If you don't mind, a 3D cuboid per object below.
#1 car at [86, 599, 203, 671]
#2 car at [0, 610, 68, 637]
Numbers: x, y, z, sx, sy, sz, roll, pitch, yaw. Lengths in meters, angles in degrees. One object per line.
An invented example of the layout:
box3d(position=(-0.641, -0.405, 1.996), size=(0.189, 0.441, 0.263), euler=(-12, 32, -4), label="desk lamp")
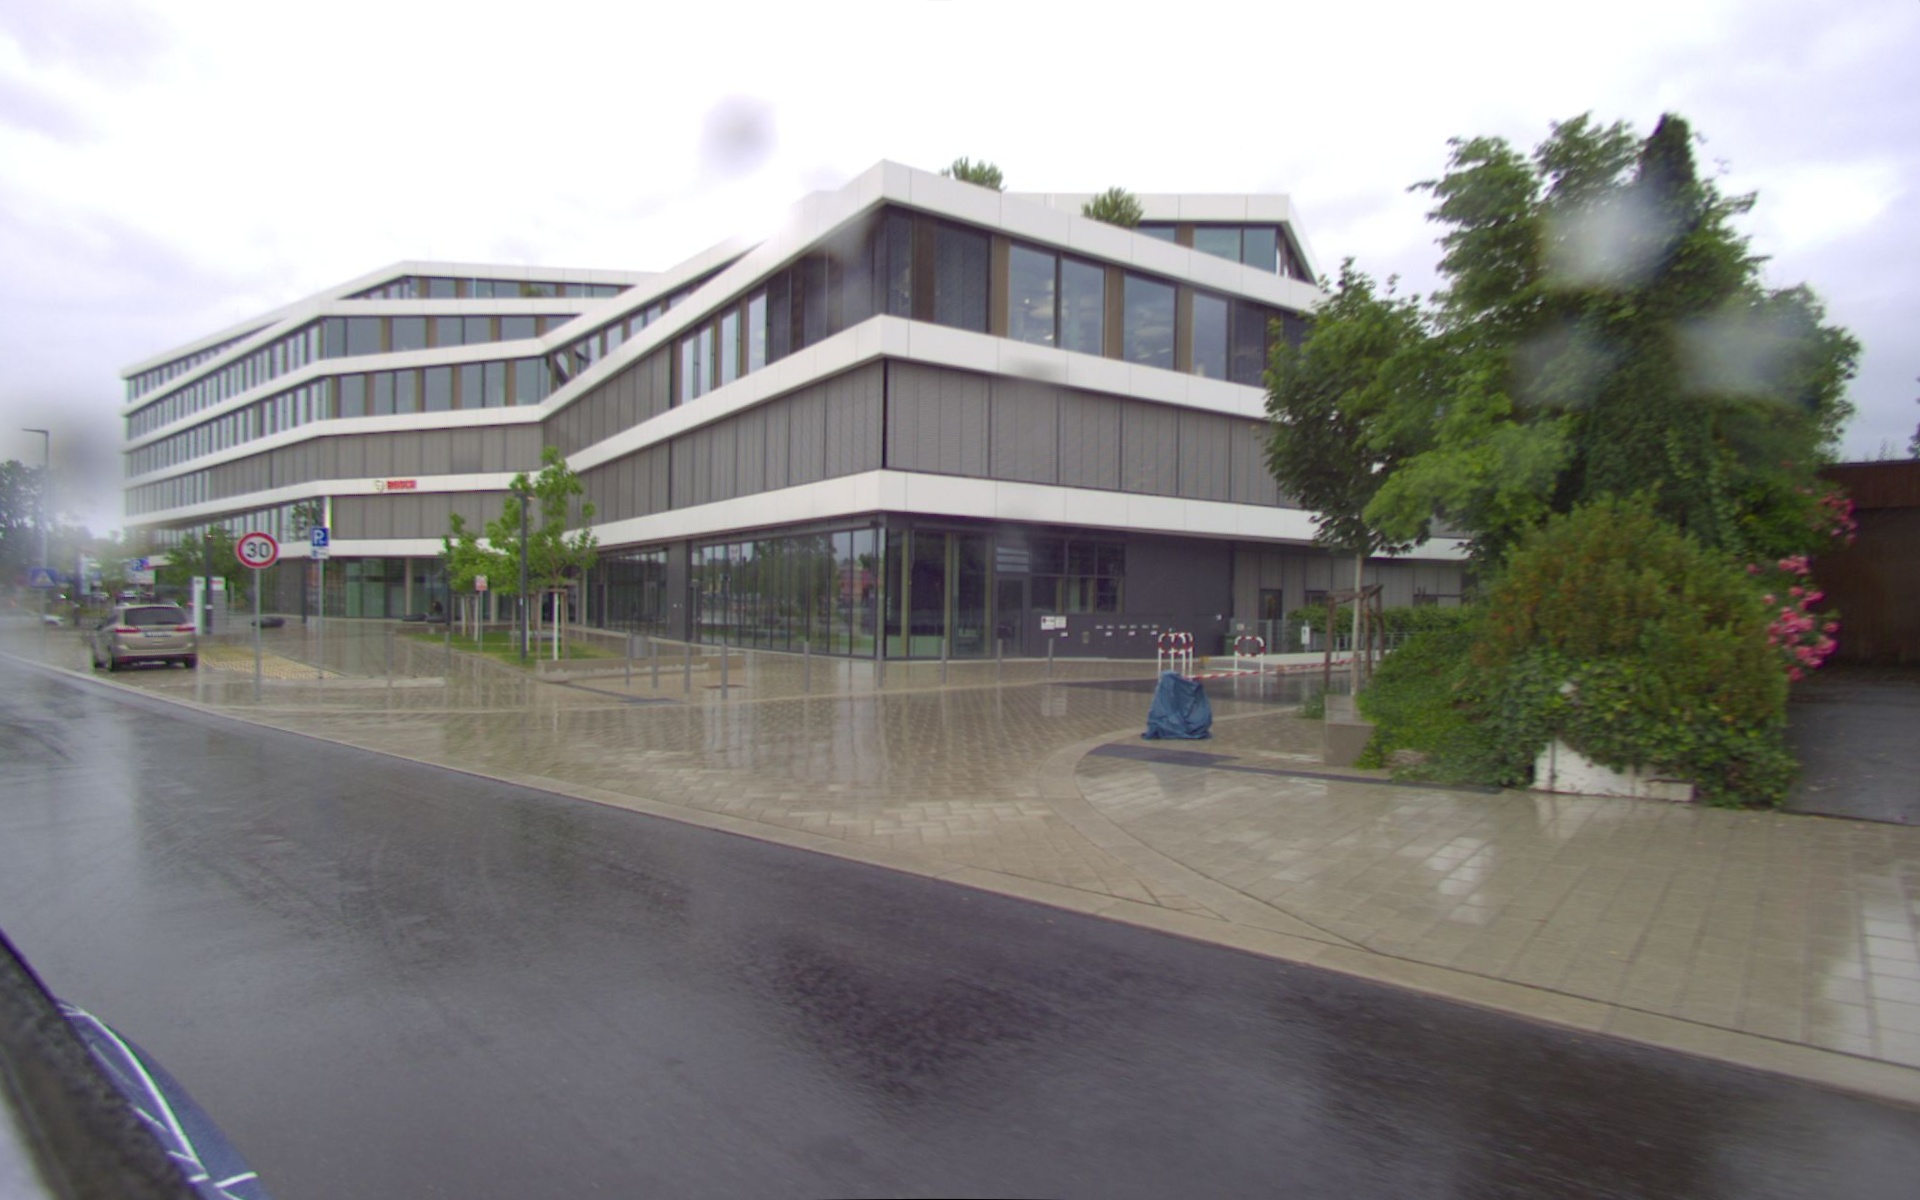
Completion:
box3d(position=(-21.353, 0.862, 26.431), size=(4.324, 1.718, 1.817), euler=(-1, 0, 43), label="car")
box3d(position=(-54.057, 1.355, 58.139), size=(4.109, 1.430, 2.002), euler=(-3, 1, -44), label="car")
